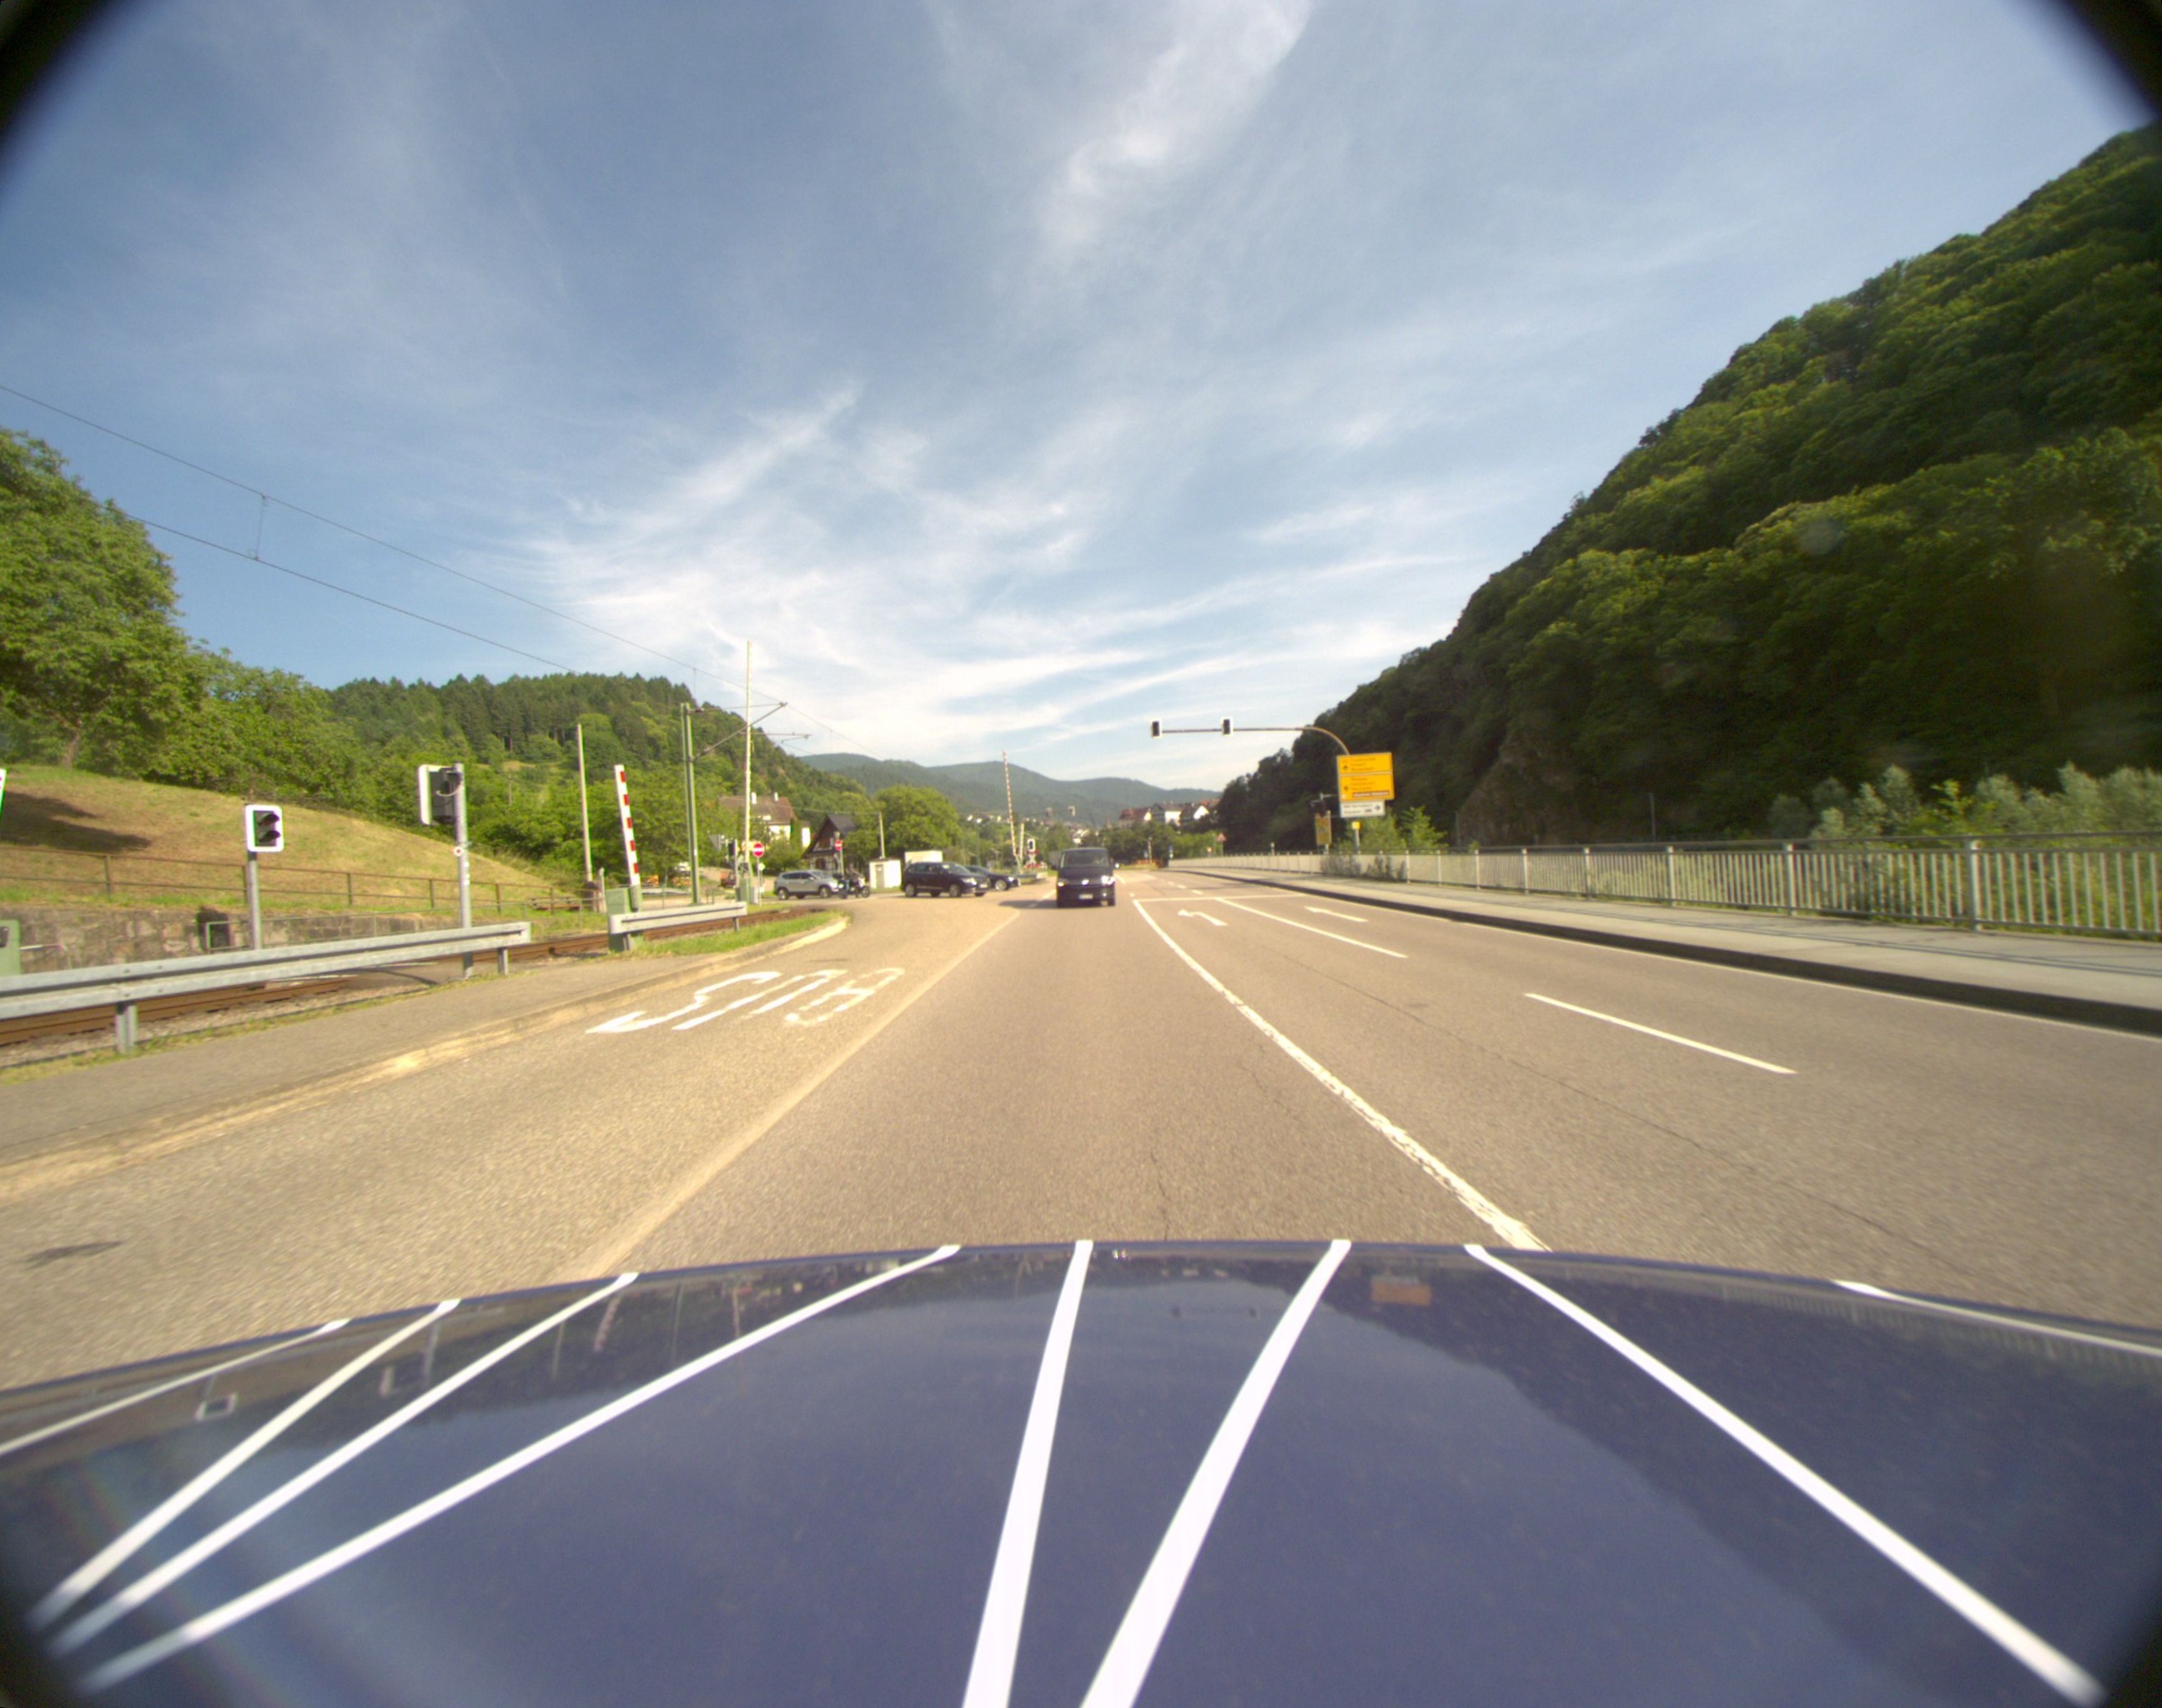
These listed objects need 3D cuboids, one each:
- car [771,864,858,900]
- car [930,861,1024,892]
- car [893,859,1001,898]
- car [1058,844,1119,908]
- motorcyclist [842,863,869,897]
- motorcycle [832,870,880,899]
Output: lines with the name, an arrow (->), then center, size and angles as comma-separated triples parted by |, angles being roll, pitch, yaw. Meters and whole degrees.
car -> -14.681, 1.525, 41.883 | 4.119, 1.676, 1.837 | -4, 0, 14
car -> -5.550, 1.192, 40.877 | 4.737, 1.461, 1.842 | -2, 0, 4
car -> -6.150, 1.125, 34.683 | 4.729, 1.650, 1.934 | -2, 0, 32
car -> 0.215, 0.726, 26.085 | 1.865, 1.936, 4.638 | -2, -1, -1
motorcyclist -> -10.987, 1.257, 37.032 | 0.908, 1.587, 0.766 | -4, 0, 18
motorcycle -> -10.946, 1.487, 37.004 | 2.096, 1.247, 0.800 | -4, 0, 19
